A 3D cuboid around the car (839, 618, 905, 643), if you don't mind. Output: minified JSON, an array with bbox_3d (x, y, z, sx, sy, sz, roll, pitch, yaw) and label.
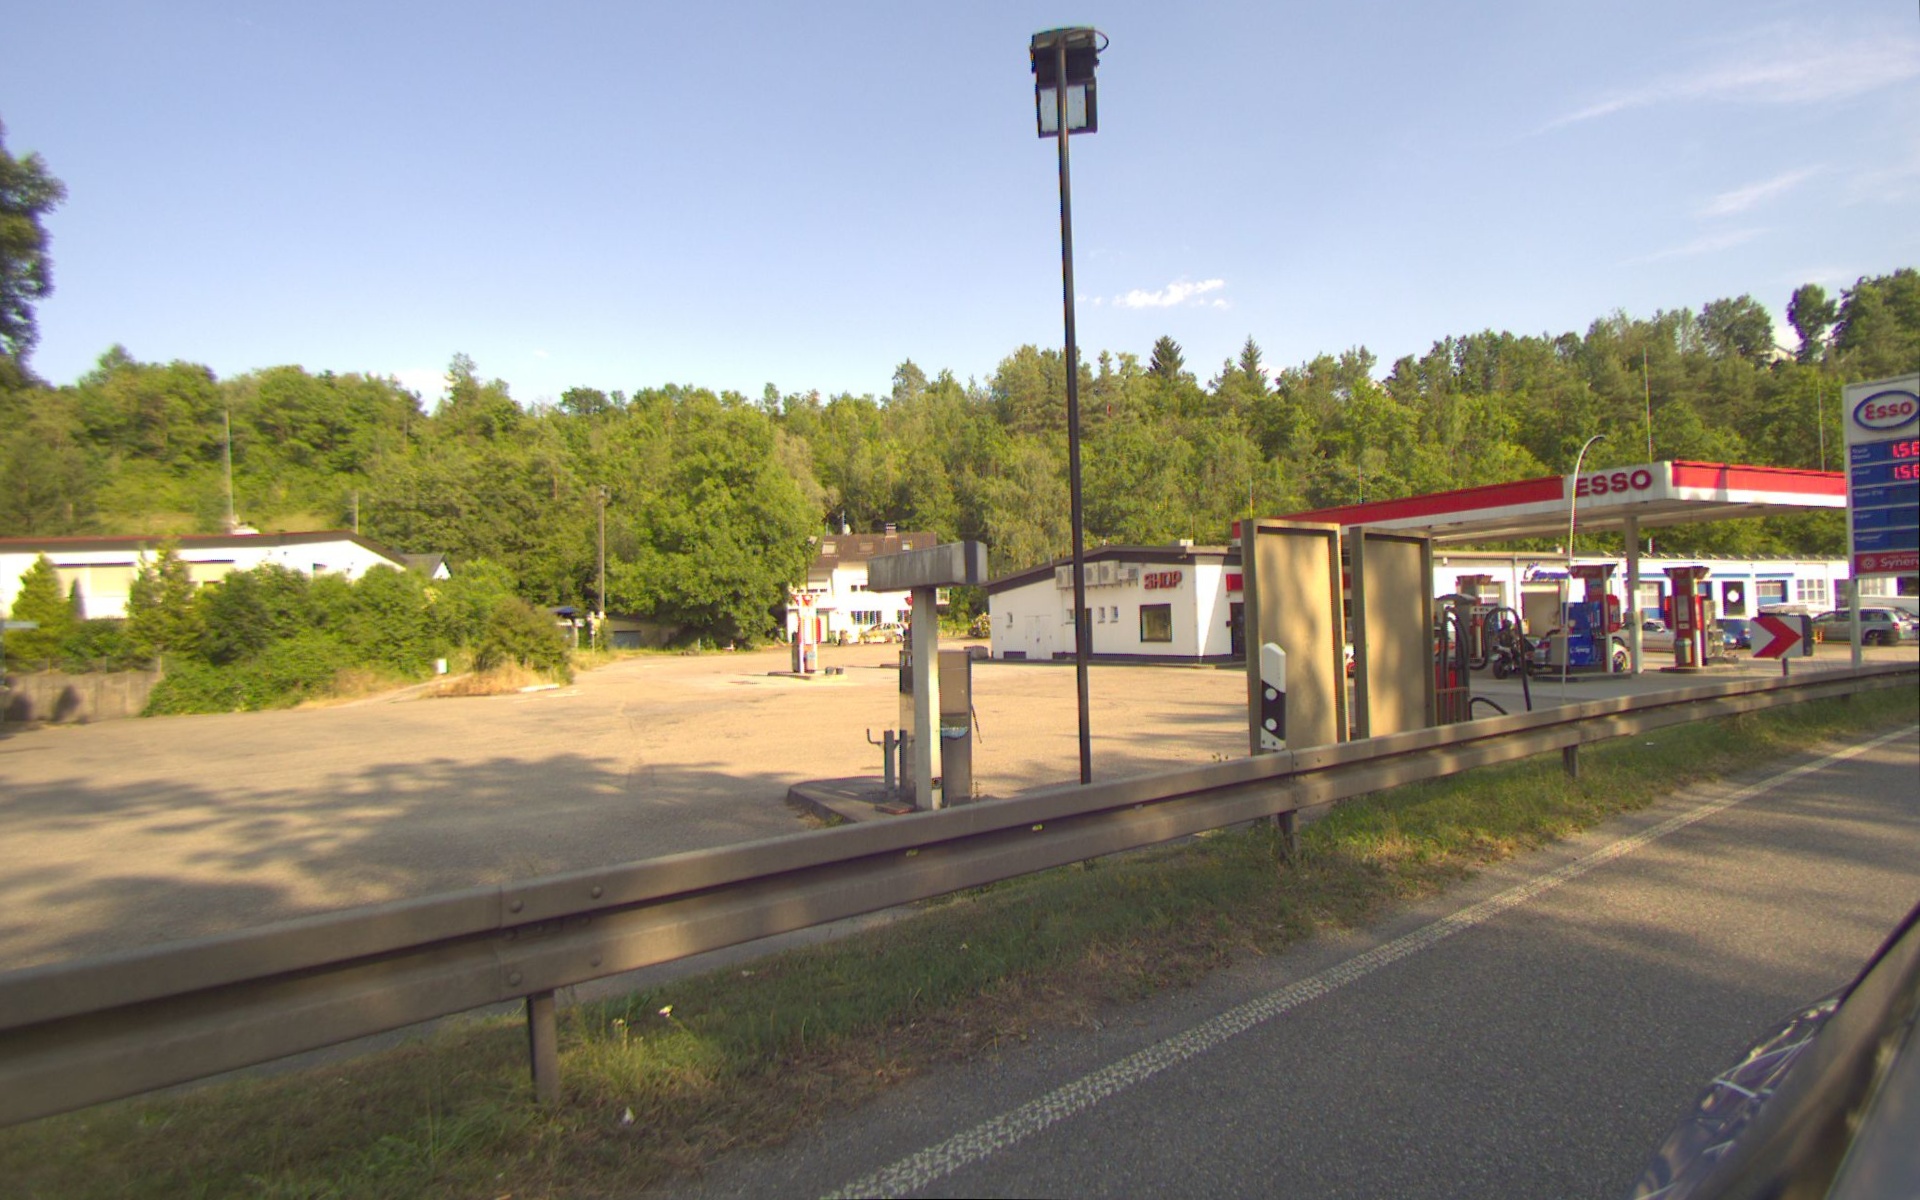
[{"bbox_3d":[-6.970,2.432,80.701,5.067,1.860,2.701,-1,-2,0],"label":"car"}]

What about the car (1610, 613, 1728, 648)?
[{"bbox_3d":[31.589,1.315,45.179,1.741,1.372,3.973,-1,1,-30],"label":"car"}]

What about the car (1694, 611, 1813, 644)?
[{"bbox_3d":[37.675,1.263,48.168,1.856,1.365,4.087,0,1,-27],"label":"car"}]

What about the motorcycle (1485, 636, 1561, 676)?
[{"bbox_3d":[16.145,1.586,29.009,2.293,1.025,0.765,0,-1,-27],"label":"motorcycle"}]

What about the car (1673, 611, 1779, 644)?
[{"bbox_3d":[35.761,1.258,47.338,1.698,1.464,3.560,0,-1,-27],"label":"car"}]

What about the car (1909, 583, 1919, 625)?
[{"bbox_3d":[59.351,0.262,59.369,2.163,2.480,4.930,0,1,-28],"label":"car"}]

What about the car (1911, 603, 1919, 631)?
[{"bbox_3d":[51.784,0.952,51.400,1.918,1.451,4.742,0,2,-28],"label":"car"}]

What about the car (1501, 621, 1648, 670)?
[{"bbox_3d":[18.917,1.369,31.130,4.300,1.336,1.851,0,-1,-27],"label":"car"}]

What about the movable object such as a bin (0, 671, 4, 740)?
[{"bbox_3d":[-21.361,2.249,20.726,2.513,1.439,1.267,0,-4,-41],"label":"movable object such as a bin"}]

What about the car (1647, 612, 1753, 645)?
[{"bbox_3d":[33.821,1.278,46.338,1.656,1.424,3.566,0,-1,-27],"label":"car"}]

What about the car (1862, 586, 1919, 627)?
[{"bbox_3d":[55.793,0.365,58.132,2.248,2.302,5.500,0,1,-27],"label":"car"}]

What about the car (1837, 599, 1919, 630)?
[{"bbox_3d":[51.629,0.799,56.018,1.856,1.631,4.260,0,0,-27],"label":"car"}]

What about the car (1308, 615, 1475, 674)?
[{"bbox_3d":[13.581,1.329,31.817,5.075,1.649,2.101,0,-1,-28],"label":"car"}]

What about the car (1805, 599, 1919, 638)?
[{"bbox_3d":[45.236,0.876,50.535,1.854,1.750,4.267,0,2,-29],"label":"car"}]

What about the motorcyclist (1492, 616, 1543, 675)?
[{"bbox_3d":[15.928,1.277,28.915,0.909,1.625,0.862,0,-2,-27],"label":"motorcyclist"}]
